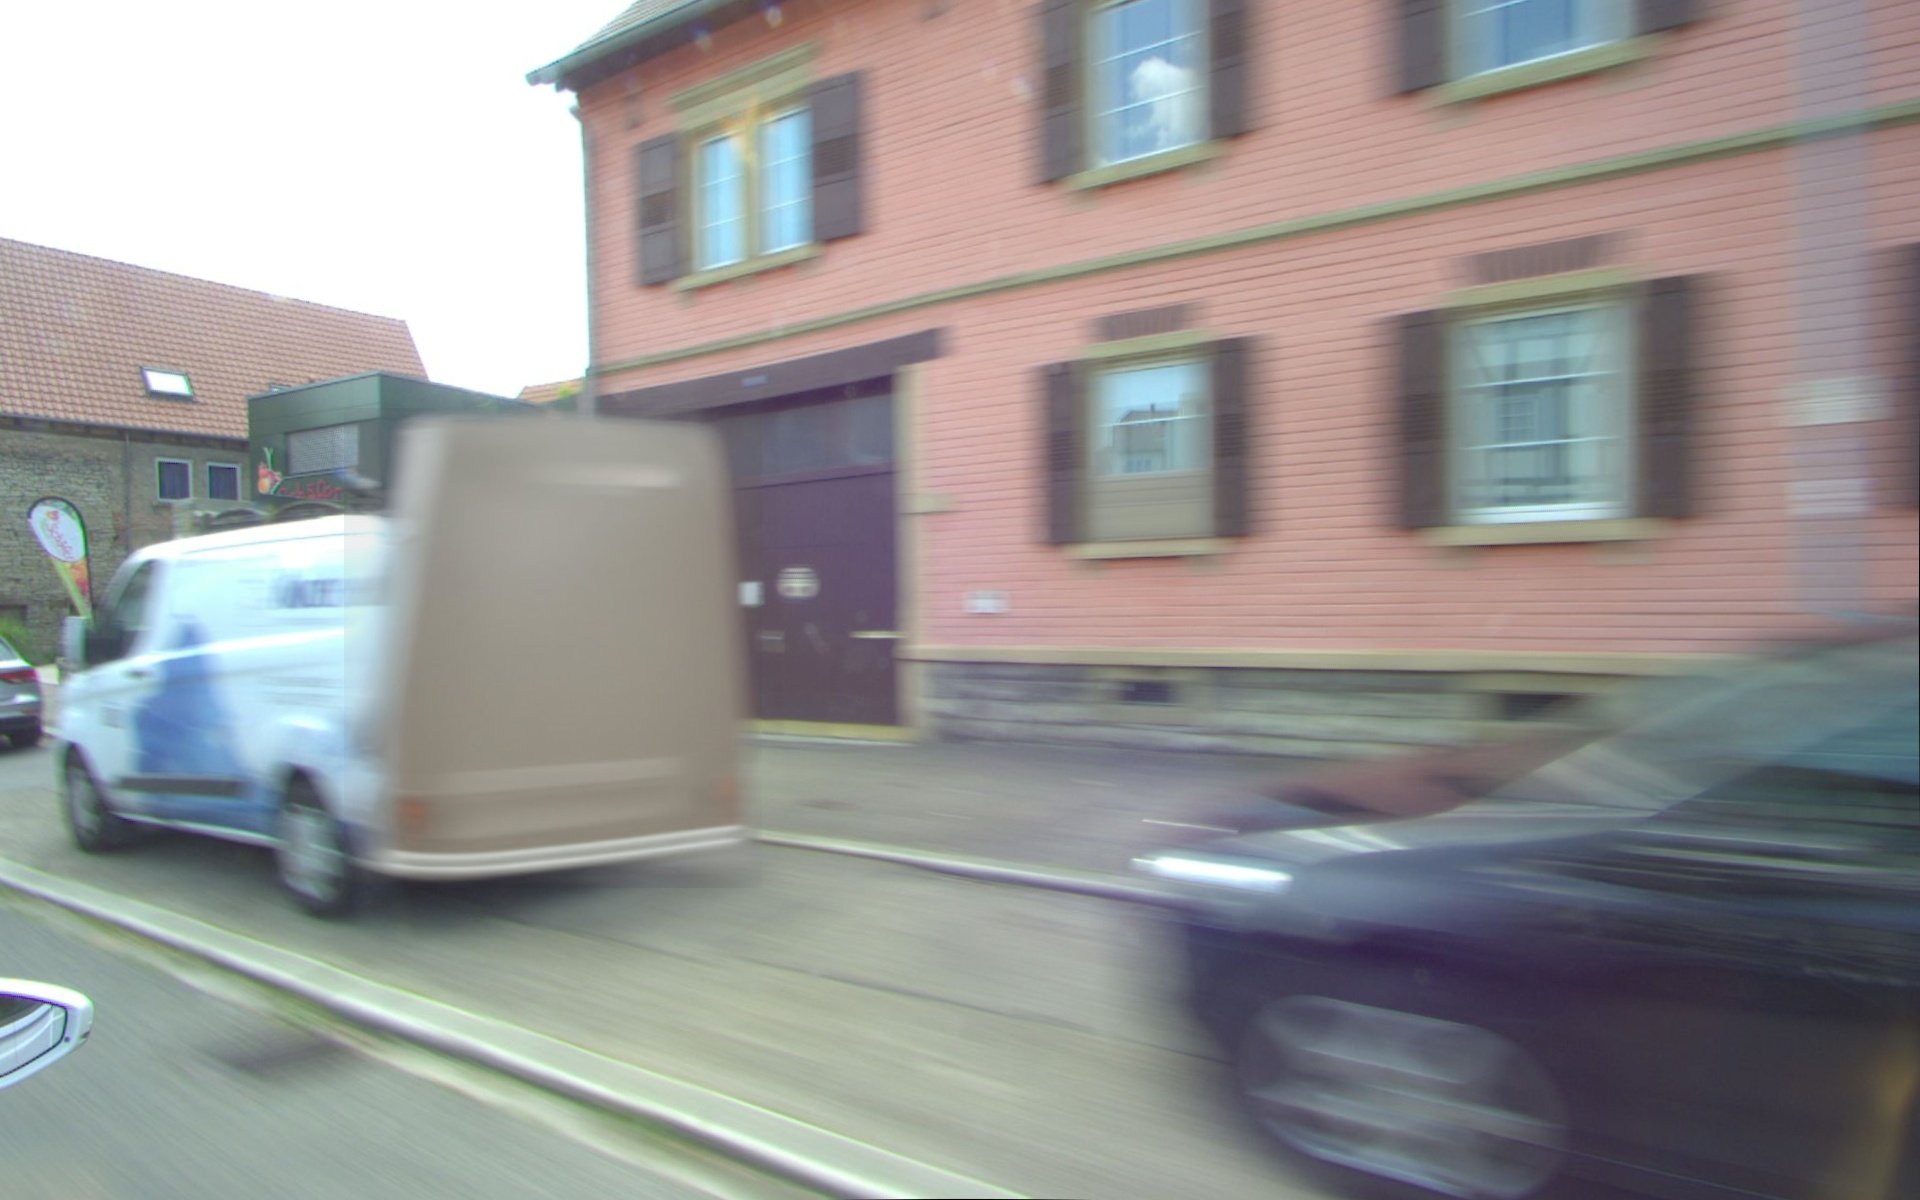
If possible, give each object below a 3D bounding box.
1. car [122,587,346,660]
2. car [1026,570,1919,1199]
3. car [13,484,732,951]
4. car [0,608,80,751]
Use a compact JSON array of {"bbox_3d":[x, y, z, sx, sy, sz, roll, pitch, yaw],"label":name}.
[{"bbox_3d":[-21.507,0.645,29.925,1.970,1.976,5.043,-1,0,30],"label":"car"},{"bbox_3d":[2.393,0.694,2.461,4.102,1.515,1.770,-1,2,33],"label":"car"},{"bbox_3d":[-3.920,0.499,6.398,4.861,2.009,1.887,-1,3,33],"label":"car"},{"bbox_3d":[-12.219,0.878,11.571,4.608,1.501,1.871,-1,0,33],"label":"car"}]
